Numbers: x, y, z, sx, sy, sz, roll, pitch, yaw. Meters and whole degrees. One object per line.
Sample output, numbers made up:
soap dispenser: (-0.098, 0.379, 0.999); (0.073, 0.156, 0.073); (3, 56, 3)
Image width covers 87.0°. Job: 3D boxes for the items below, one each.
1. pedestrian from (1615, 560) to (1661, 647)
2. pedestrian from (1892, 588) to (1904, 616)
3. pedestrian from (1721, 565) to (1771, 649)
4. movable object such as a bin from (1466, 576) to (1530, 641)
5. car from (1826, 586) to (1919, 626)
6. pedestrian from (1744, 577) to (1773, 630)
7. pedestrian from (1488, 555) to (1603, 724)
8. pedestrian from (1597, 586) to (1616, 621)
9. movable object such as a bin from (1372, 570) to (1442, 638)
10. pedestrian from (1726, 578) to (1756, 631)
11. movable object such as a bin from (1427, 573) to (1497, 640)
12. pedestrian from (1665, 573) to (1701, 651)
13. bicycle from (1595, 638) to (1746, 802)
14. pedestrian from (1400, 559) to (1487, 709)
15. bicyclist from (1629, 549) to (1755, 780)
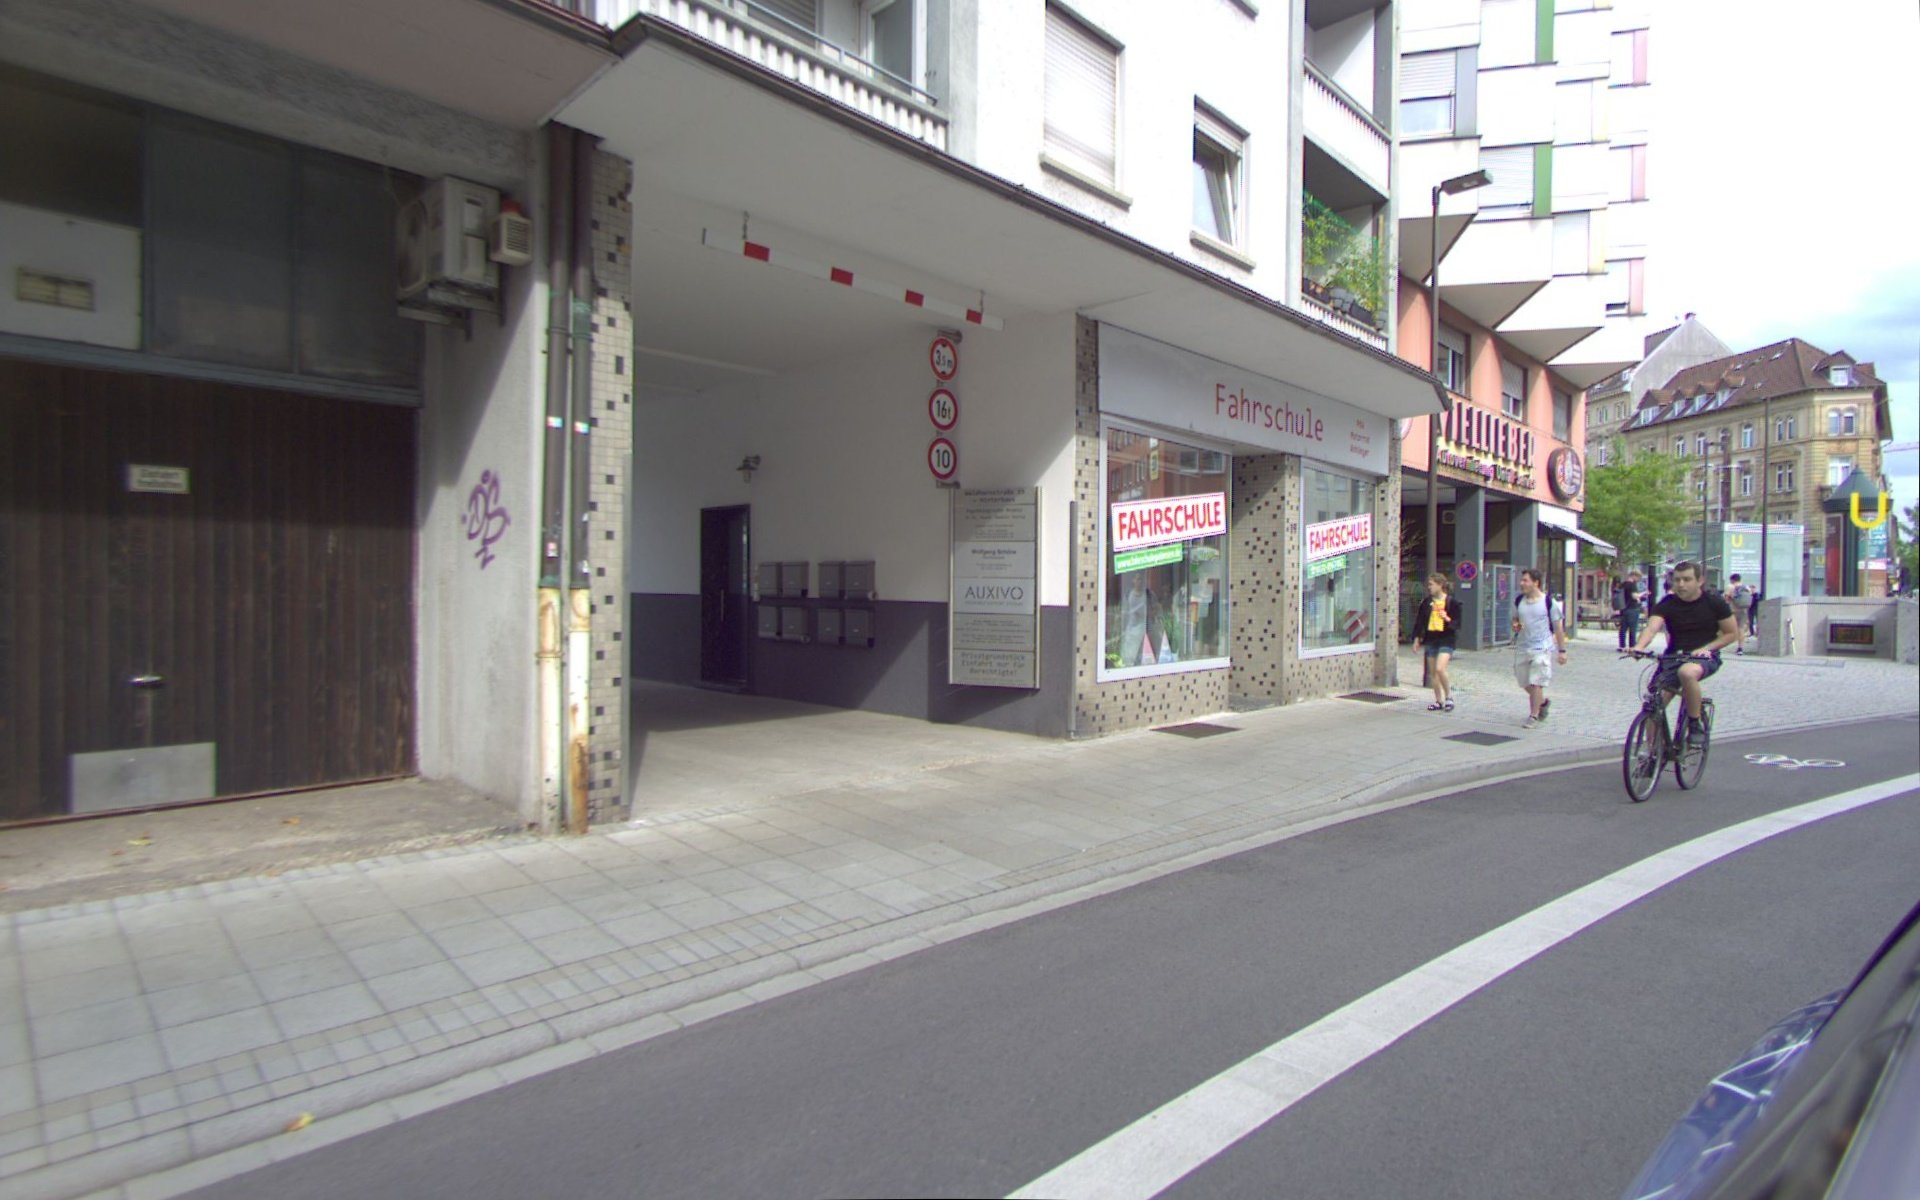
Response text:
pedestrian: (15.492, 0.072, 23.113); (0.580, 1.926, 0.673); (0, 3, -45)
pedestrian: (57.942, 0.110, 62.498); (0.421, 1.706, 0.509); (1, 1, 32)
pedestrian: (18.232, 0.135, 23.477); (0.955, 1.874, 0.657); (-1, 4, -43)
movable object such as a bin: (13.217, 0.192, 24.869); (1.143, 1.534, 1.071); (1, 1, 43)
car: (39.228, 0.221, 42.385); (1.962, 1.530, 4.604); (-1, 1, 0)
pedestrian: (28.840, 0.106, 36.563); (0.573, 1.890, 0.491); (2, 0, -6)
pedestrian: (6.546, 0.419, 11.323); (0.844, 1.771, 0.753); (2, 2, -39)
pedestrian: (30.655, 0.163, 47.969); (0.431, 1.662, 0.678); (0, 0, -1)
movable object such as a bin: (10.580, 0.076, 23.960); (1.193, 1.534, 1.178); (1, 1, 43)
pedestrian: (28.192, 0.165, 36.528); (0.573, 1.890, 0.549); (2, 0, -6)
movable object such as a bin: (11.482, 0.120, 23.138); (1.145, 1.478, 1.205); (1, 1, 43)
pedestrian: (15.980, 0.257, 22.377); (0.580, 1.693, 0.473); (0, 3, -45)
bicycle: (5.679, 0.890, 8.046); (1.980, 1.136, 0.407); (1, -1, -37)
pedestrian: (5.795, 0.380, 12.122); (0.604, 1.688, 0.929); (5, 4, 42)
bicyclist: (5.822, 0.476, 8.045); (0.846, 1.731, 0.560); (0, 0, -36)
